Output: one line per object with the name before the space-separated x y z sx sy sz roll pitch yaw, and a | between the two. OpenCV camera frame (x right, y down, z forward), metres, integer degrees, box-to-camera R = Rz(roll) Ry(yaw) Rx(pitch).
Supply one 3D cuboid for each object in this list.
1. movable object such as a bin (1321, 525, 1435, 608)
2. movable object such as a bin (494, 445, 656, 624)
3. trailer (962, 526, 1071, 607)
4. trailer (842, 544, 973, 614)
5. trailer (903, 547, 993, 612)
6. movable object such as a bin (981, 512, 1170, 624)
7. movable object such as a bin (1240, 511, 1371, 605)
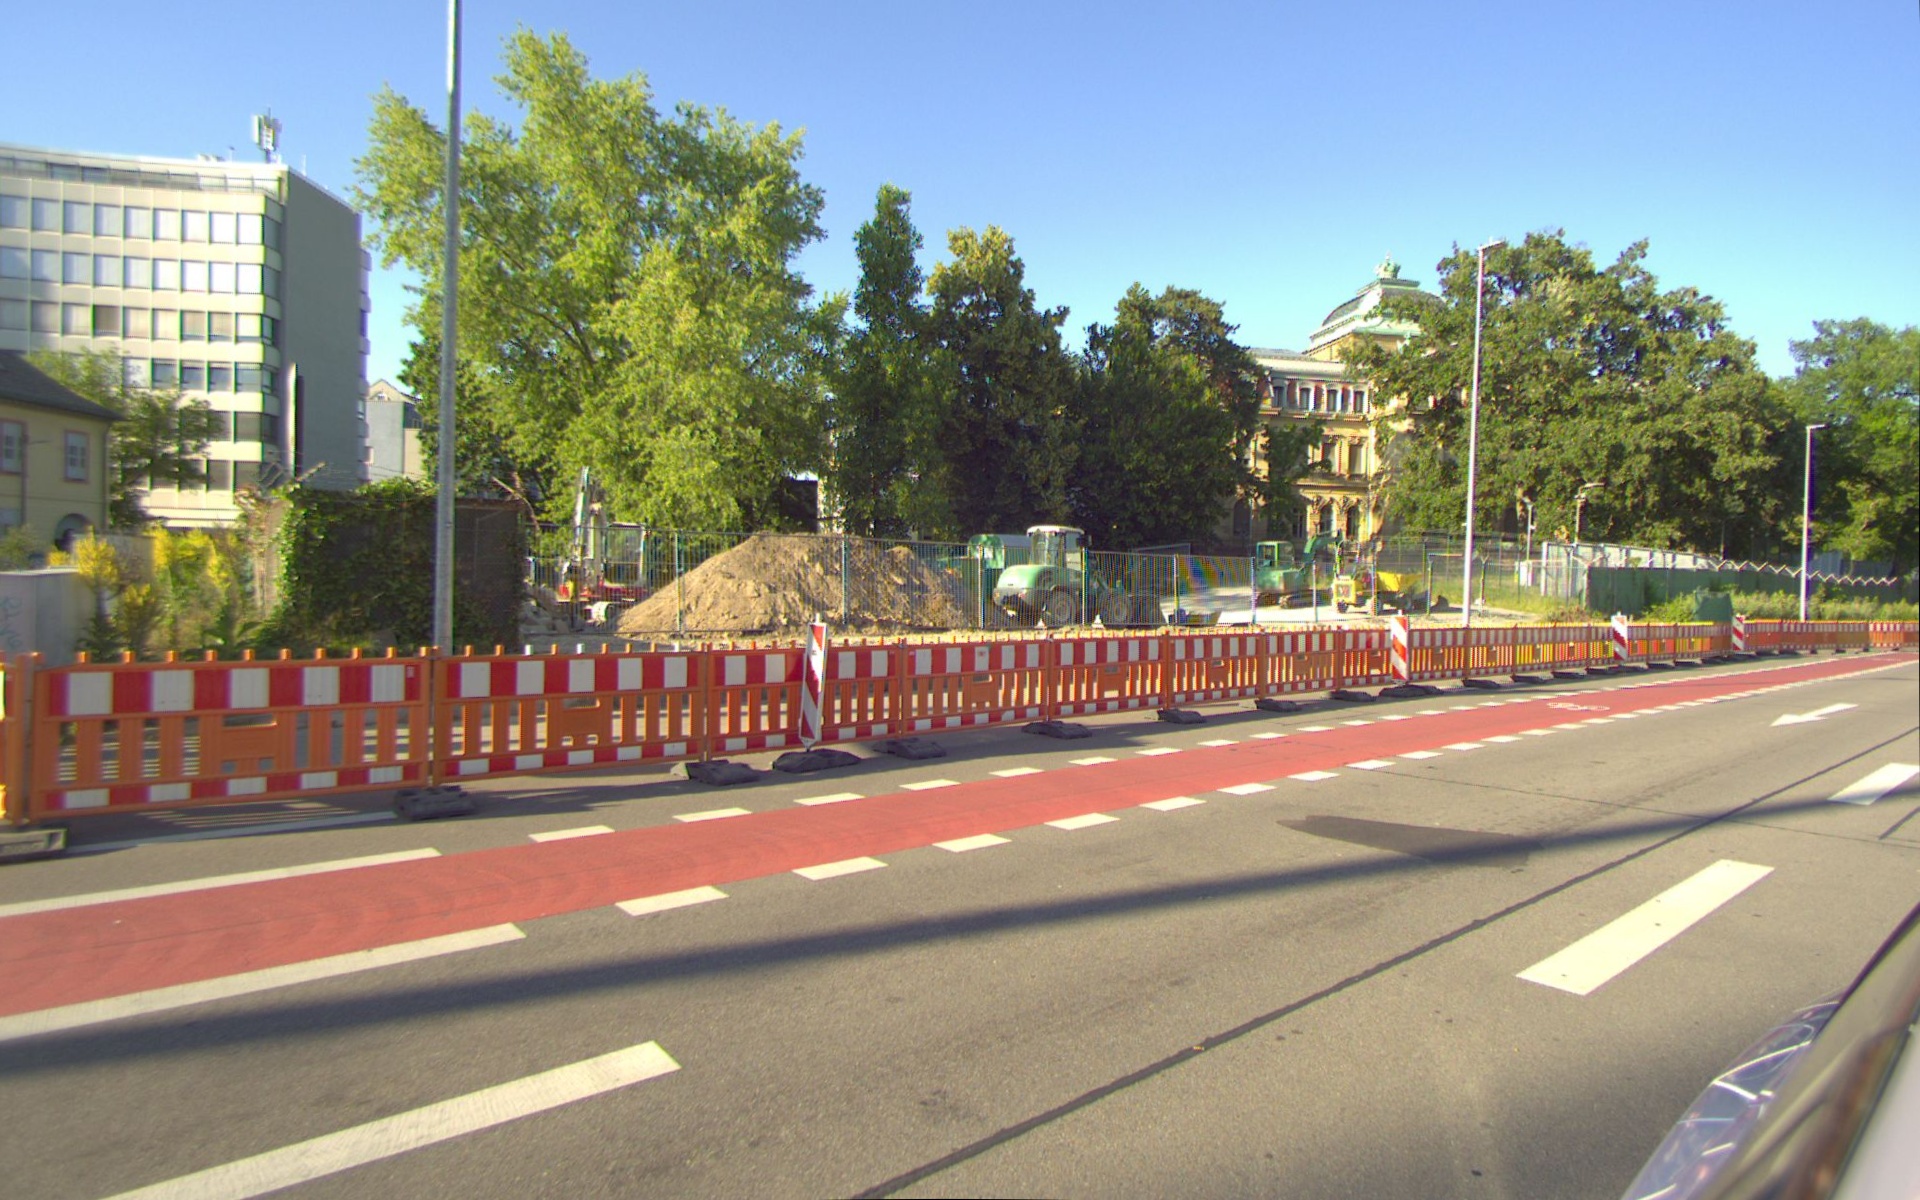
movable object such as a bin | 15.548 -1.203 37.607 3.922 2.940 2.002 1 1 -33
movable object such as a bin | -8.820 -1.413 23.868 2.801 3.602 6.095 1 1 -14
trailer | 2.425 -1.509 43.113 3.922 3.126 2.613 -7 7 -42
trailer | -2.047 -0.898 38.273 2.188 2.349 5.038 -7 7 -42
trailer | -0.490 -0.886 40.774 2.188 2.349 2.951 -7 7 -42
movable object such as a bin | 3.166 -0.807 27.203 4.854 2.737 2.281 0 1 -40
movable object such as a bin | 14.151 -1.638 41.347 5.394 3.602 2.284 1 1 -35
